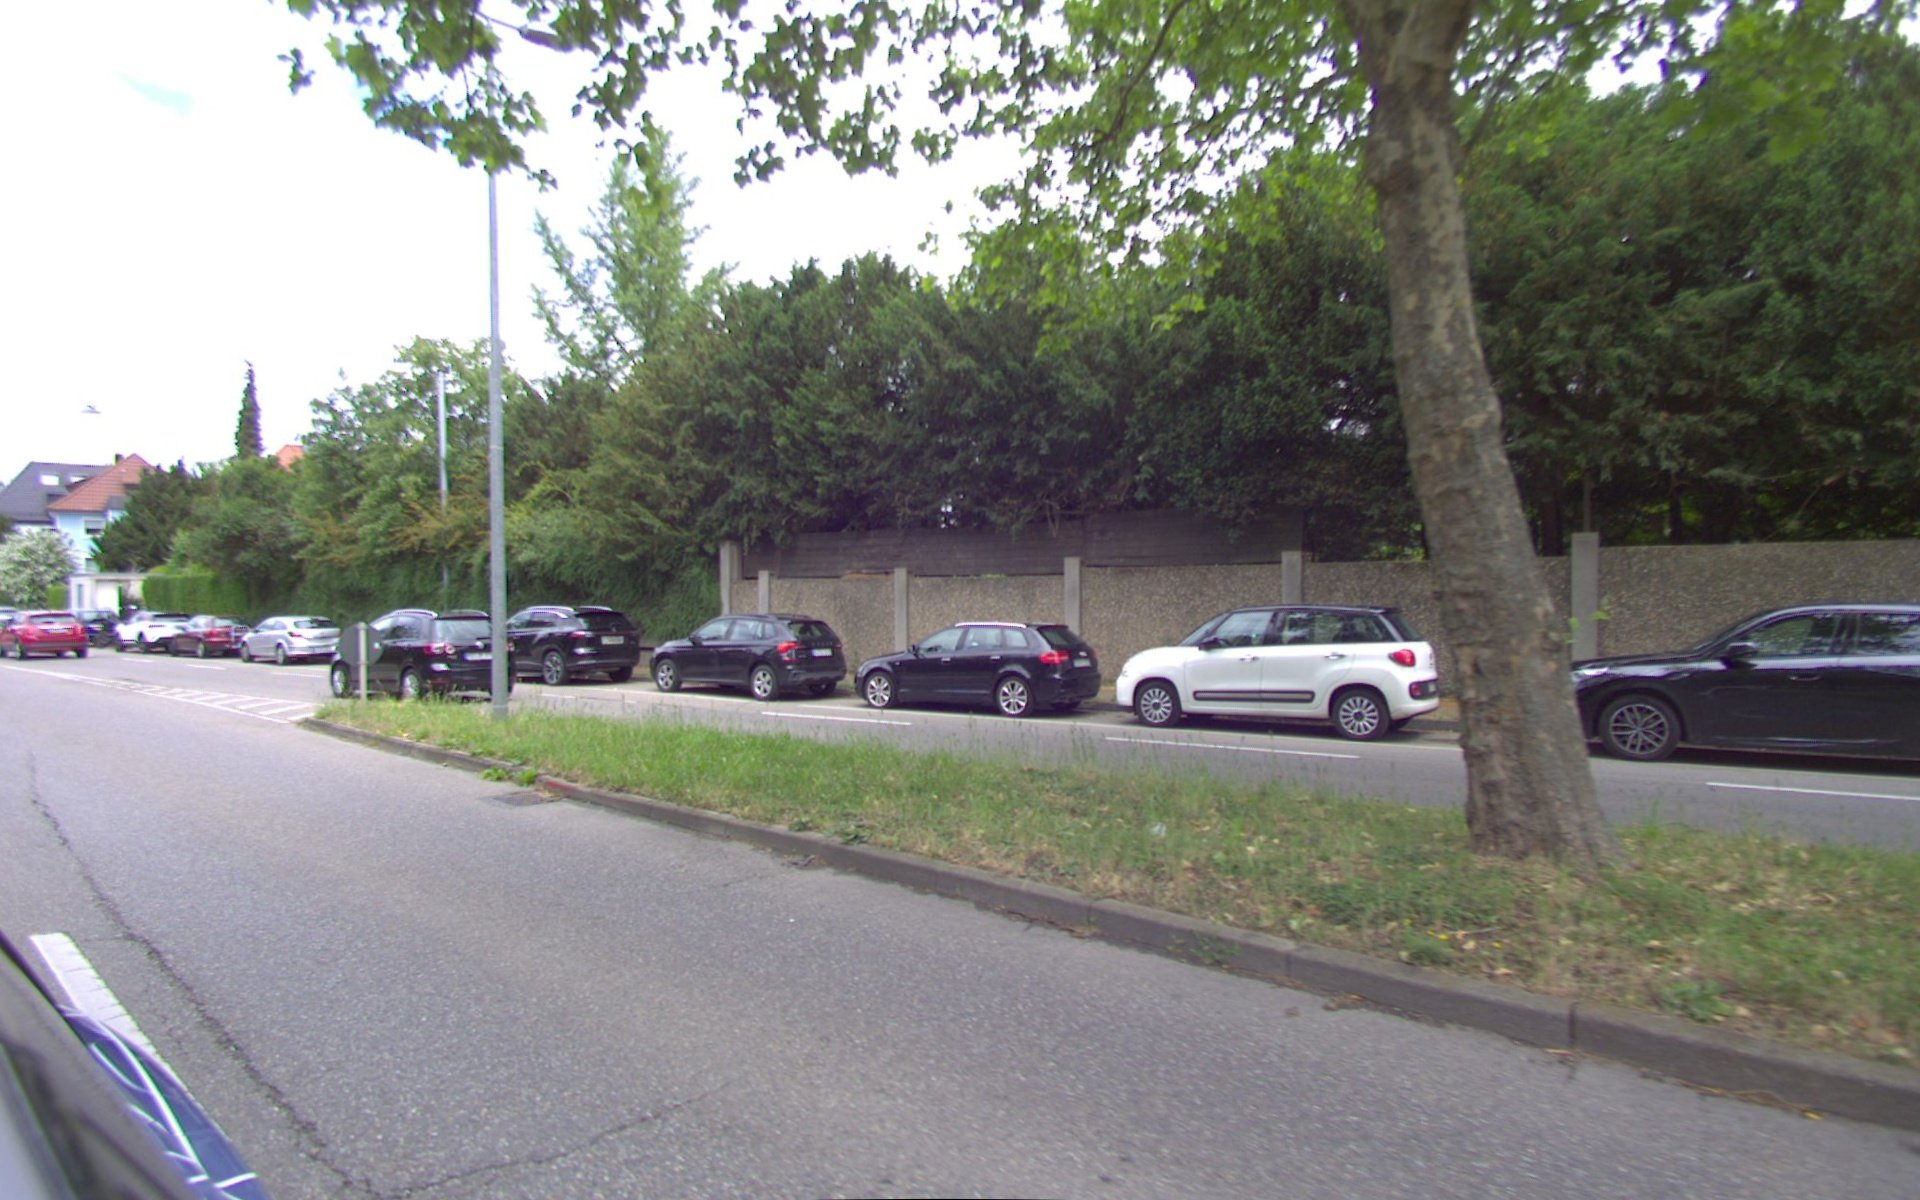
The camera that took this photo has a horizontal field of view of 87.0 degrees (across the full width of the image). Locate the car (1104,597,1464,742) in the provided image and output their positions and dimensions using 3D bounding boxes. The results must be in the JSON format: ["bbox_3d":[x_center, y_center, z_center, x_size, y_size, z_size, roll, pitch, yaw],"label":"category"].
[{"bbox_3d":[4.192,0.838,13.361,4.208,1.628,1.776,-1,-2,35],"label":"car"}]

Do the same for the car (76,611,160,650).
[{"bbox_3d":[-33.971,1.216,40.808,3.822,1.516,1.667,-1,-2,35],"label":"car"}]

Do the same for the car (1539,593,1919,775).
[{"bbox_3d":[8.459,0.783,10.226,4.448,1.628,1.777,-1,-2,33],"label":"car"}]

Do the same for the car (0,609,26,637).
[{"bbox_3d":[-48.053,1.166,50.446,3.827,1.339,1.665,-1,0,39],"label":"car"}]

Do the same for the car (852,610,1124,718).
[{"bbox_3d":[0.383,0.946,16.068,4.029,1.516,1.776,-1,-2,35],"label":"car"}]

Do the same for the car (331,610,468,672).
[{"bbox_3d":[-14.871,1.061,26.795,3.822,1.516,1.667,-1,-2,35],"label":"car"}]

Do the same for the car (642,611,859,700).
[{"bbox_3d":[-4.034,1.002,19.240,4.029,1.516,1.776,-1,-2,35],"label":"car"}]

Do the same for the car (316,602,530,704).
[{"bbox_3d":[-9.644,0.897,18.095,3.905,1.628,1.822,-1,-2,36],"label":"car"}]

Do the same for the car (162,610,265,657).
[{"bbox_3d":[-25.314,1.134,34.307,3.822,1.516,1.667,-1,-2,35],"label":"car"}]

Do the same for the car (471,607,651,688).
[{"bbox_3d":[-8.858,0.995,22.373,4.028,1.615,1.776,-1,0,35],"label":"car"}]

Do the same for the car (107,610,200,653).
[{"bbox_3d":[-29.768,1.154,37.324,3.822,1.516,1.667,-1,-2,35],"label":"car"}]

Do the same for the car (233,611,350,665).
[{"bbox_3d":[-20.246,1.133,30.613,3.822,1.516,1.667,-1,-2,35],"label":"car"}]

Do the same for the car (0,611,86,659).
[{"bbox_3d":[-30.647,1.152,33.530,3.822,1.516,1.667,-1,-2,35],"label":"car"}]
